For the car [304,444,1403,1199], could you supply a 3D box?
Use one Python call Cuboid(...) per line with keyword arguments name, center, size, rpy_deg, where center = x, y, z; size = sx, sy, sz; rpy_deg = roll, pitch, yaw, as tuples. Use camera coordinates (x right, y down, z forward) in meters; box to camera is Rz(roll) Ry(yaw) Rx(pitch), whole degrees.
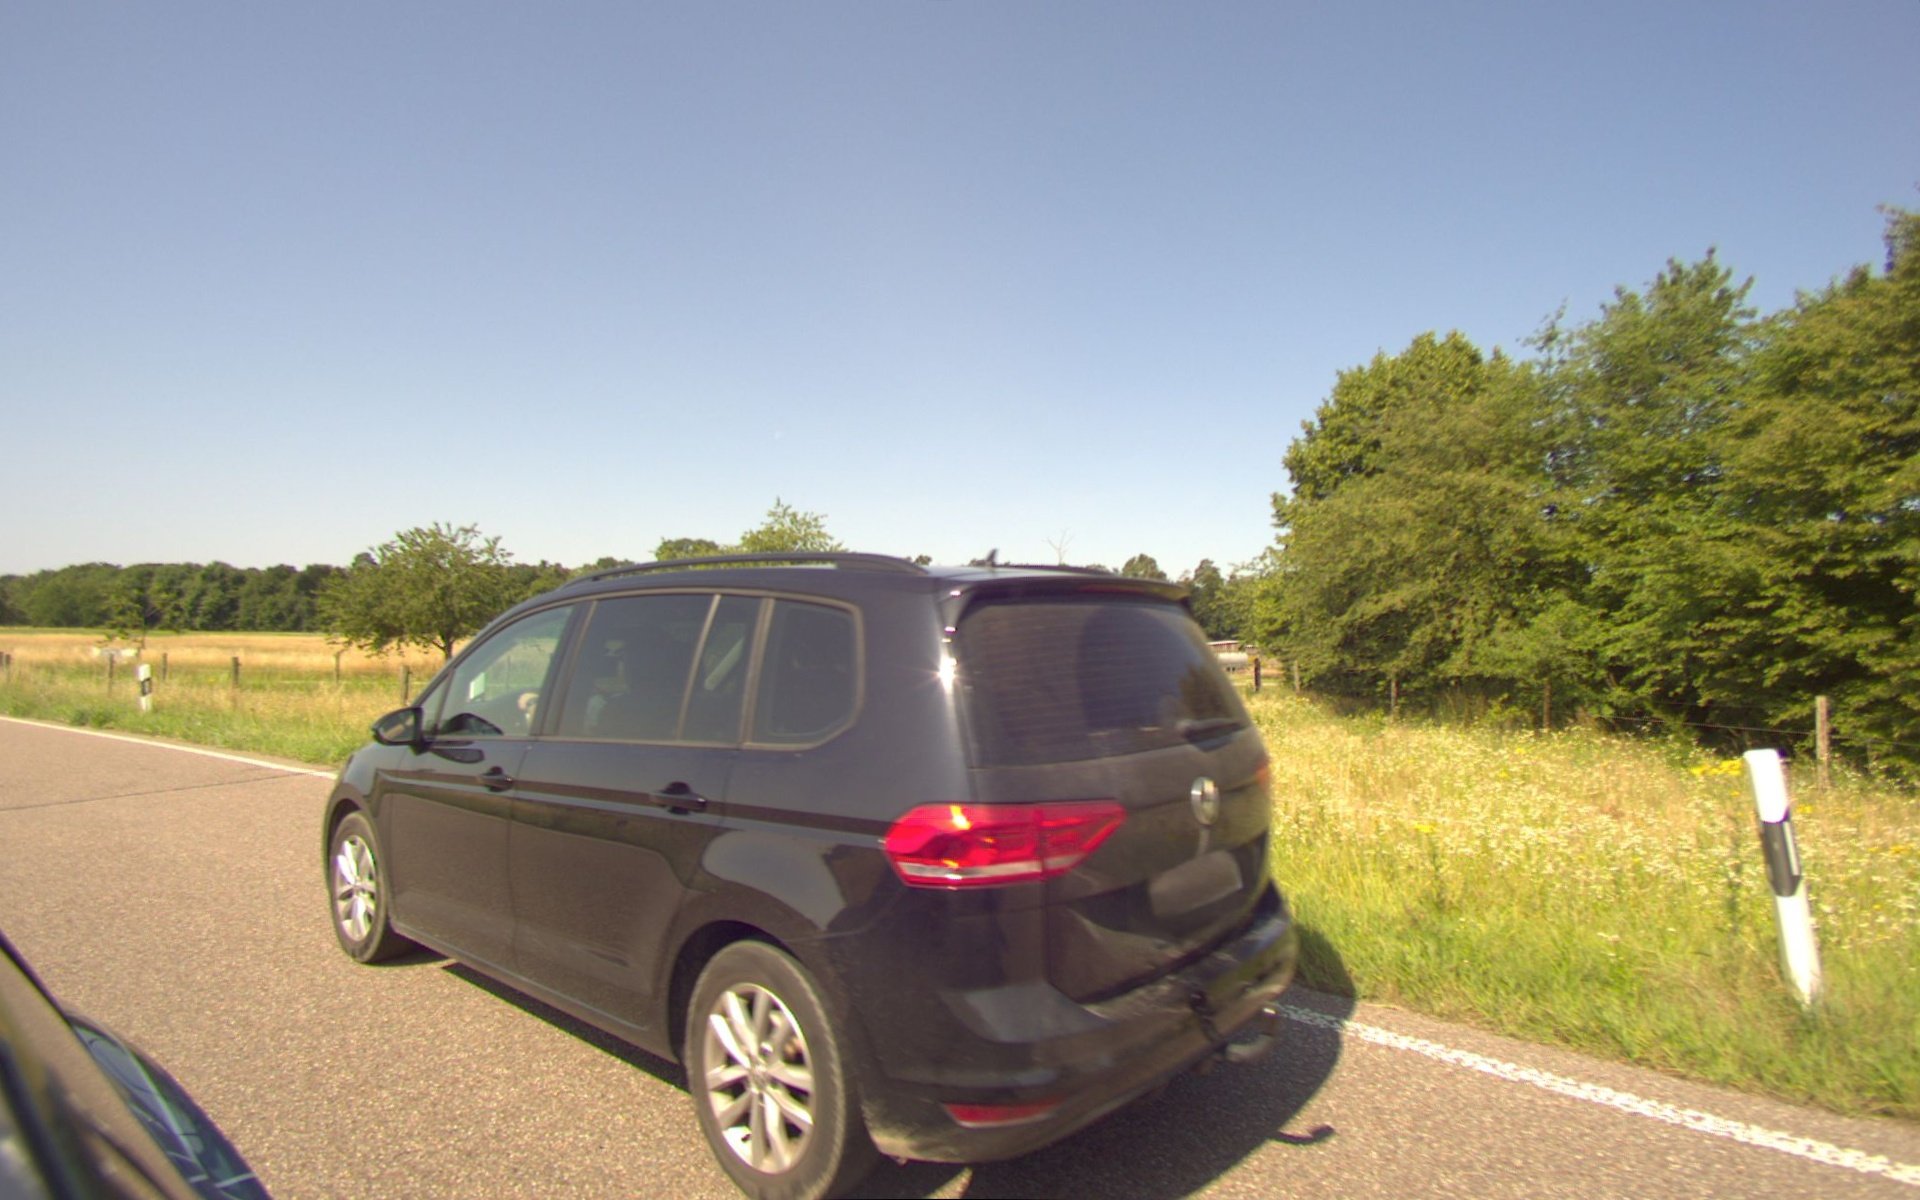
Cuboid(name="car", center=(-0.803, 0.623, 3.814), size=(4.159, 1.644, 1.765), rpy_deg=(-3, -2, 42))
